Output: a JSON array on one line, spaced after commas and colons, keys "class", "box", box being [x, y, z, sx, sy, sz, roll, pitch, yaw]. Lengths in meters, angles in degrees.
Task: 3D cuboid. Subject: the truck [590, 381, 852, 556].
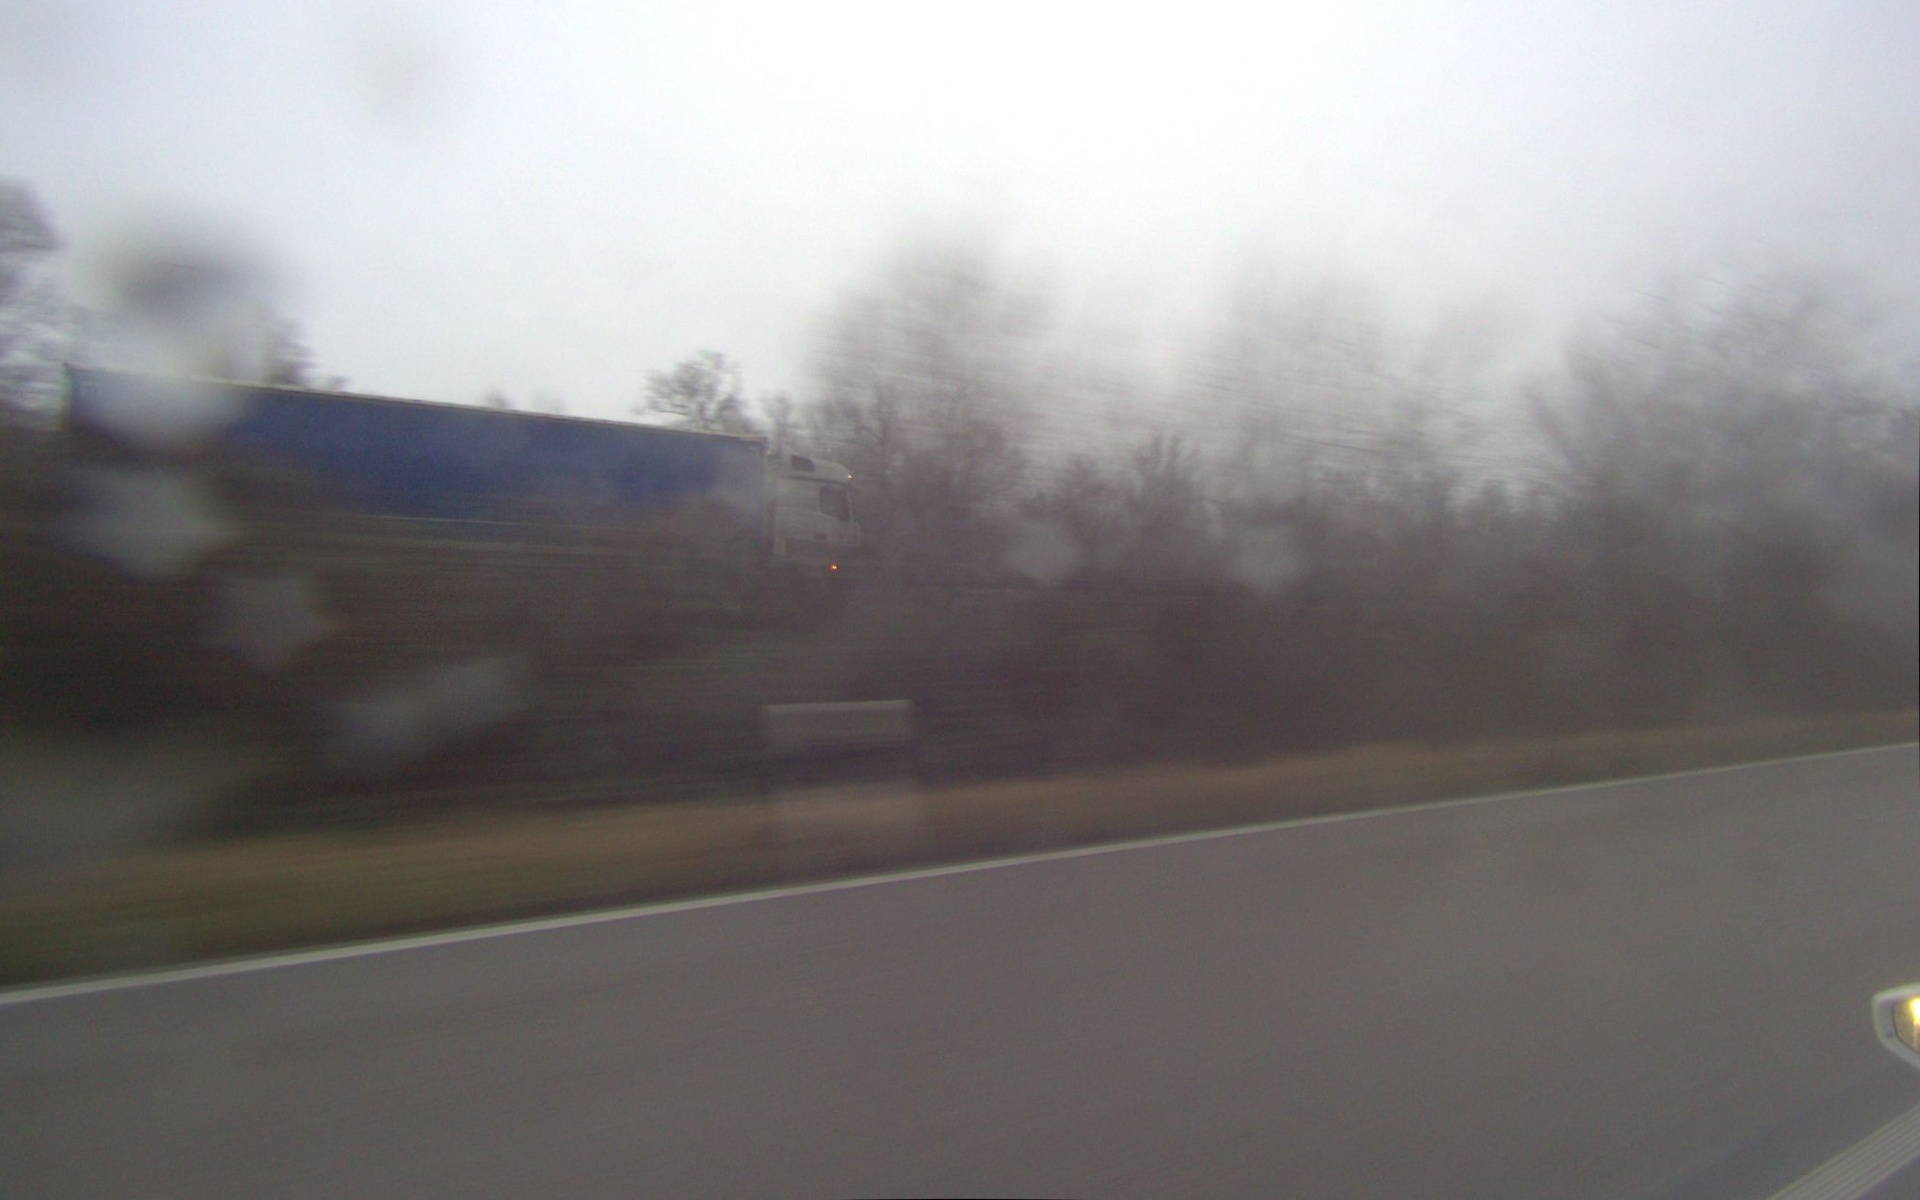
[{"class": "truck", "box": [-6.142, -3.138, 25.933, 5.996, 3.680, 2.978, 1, -1, -31]}]

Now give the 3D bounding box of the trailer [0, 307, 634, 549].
[{"class": "trailer", "box": [-13.169, -3.247, 21.736, 11.254, 3.682, 2.984, 1, -1, -31]}]
